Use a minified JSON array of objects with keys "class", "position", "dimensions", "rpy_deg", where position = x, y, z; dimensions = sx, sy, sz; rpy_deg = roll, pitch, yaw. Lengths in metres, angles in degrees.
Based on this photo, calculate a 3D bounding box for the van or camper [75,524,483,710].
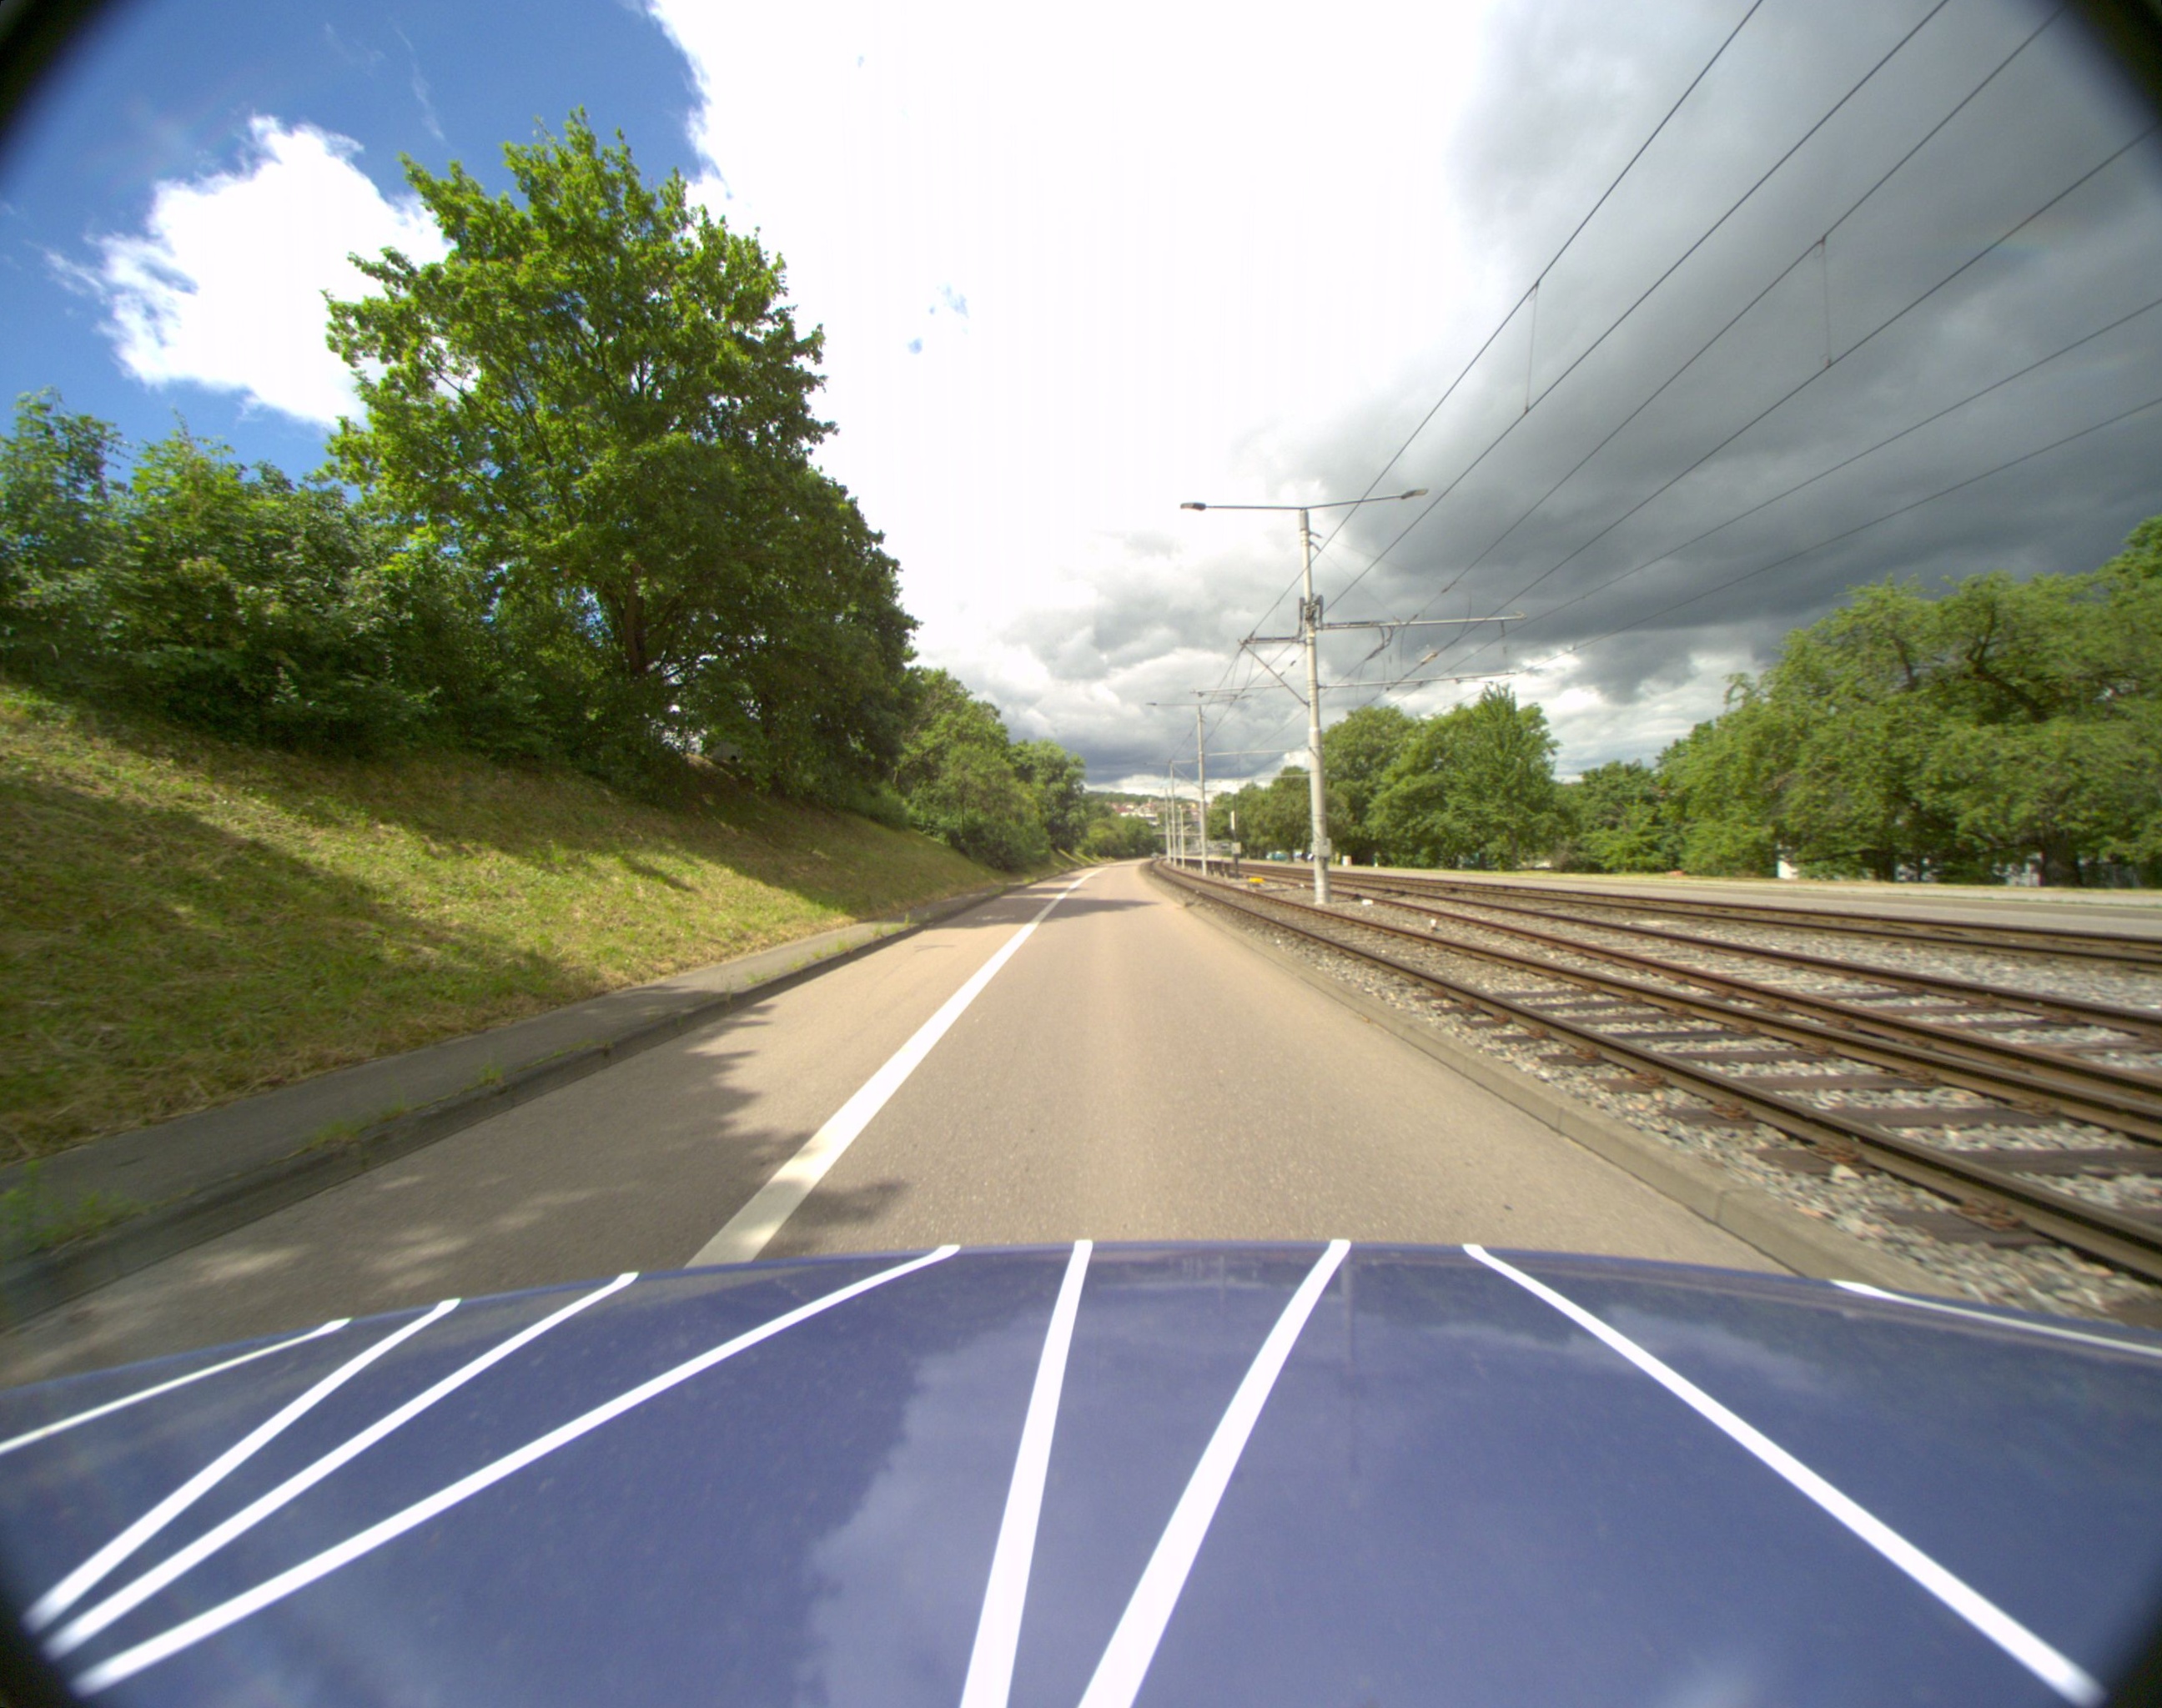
[{"class":"van or camper","position":[-16.430,-4.724,16.360],"dimensions":[2.222,2.057,6.161],"rpy_deg":[-2,0,-1]}]

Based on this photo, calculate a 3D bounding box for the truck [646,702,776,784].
[{"class":"truck","position":[-16.514,-4.856,34.514],"dimensions":[2.356,2.643,7.039],"rpy_deg":[-2,0,0]}]

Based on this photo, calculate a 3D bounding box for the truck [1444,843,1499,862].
[{"class":"truck","position":[57.093,-0.223,111.074],"dimensions":[6.615,2.839,2.681],"rpy_deg":[0,1,8]}]
